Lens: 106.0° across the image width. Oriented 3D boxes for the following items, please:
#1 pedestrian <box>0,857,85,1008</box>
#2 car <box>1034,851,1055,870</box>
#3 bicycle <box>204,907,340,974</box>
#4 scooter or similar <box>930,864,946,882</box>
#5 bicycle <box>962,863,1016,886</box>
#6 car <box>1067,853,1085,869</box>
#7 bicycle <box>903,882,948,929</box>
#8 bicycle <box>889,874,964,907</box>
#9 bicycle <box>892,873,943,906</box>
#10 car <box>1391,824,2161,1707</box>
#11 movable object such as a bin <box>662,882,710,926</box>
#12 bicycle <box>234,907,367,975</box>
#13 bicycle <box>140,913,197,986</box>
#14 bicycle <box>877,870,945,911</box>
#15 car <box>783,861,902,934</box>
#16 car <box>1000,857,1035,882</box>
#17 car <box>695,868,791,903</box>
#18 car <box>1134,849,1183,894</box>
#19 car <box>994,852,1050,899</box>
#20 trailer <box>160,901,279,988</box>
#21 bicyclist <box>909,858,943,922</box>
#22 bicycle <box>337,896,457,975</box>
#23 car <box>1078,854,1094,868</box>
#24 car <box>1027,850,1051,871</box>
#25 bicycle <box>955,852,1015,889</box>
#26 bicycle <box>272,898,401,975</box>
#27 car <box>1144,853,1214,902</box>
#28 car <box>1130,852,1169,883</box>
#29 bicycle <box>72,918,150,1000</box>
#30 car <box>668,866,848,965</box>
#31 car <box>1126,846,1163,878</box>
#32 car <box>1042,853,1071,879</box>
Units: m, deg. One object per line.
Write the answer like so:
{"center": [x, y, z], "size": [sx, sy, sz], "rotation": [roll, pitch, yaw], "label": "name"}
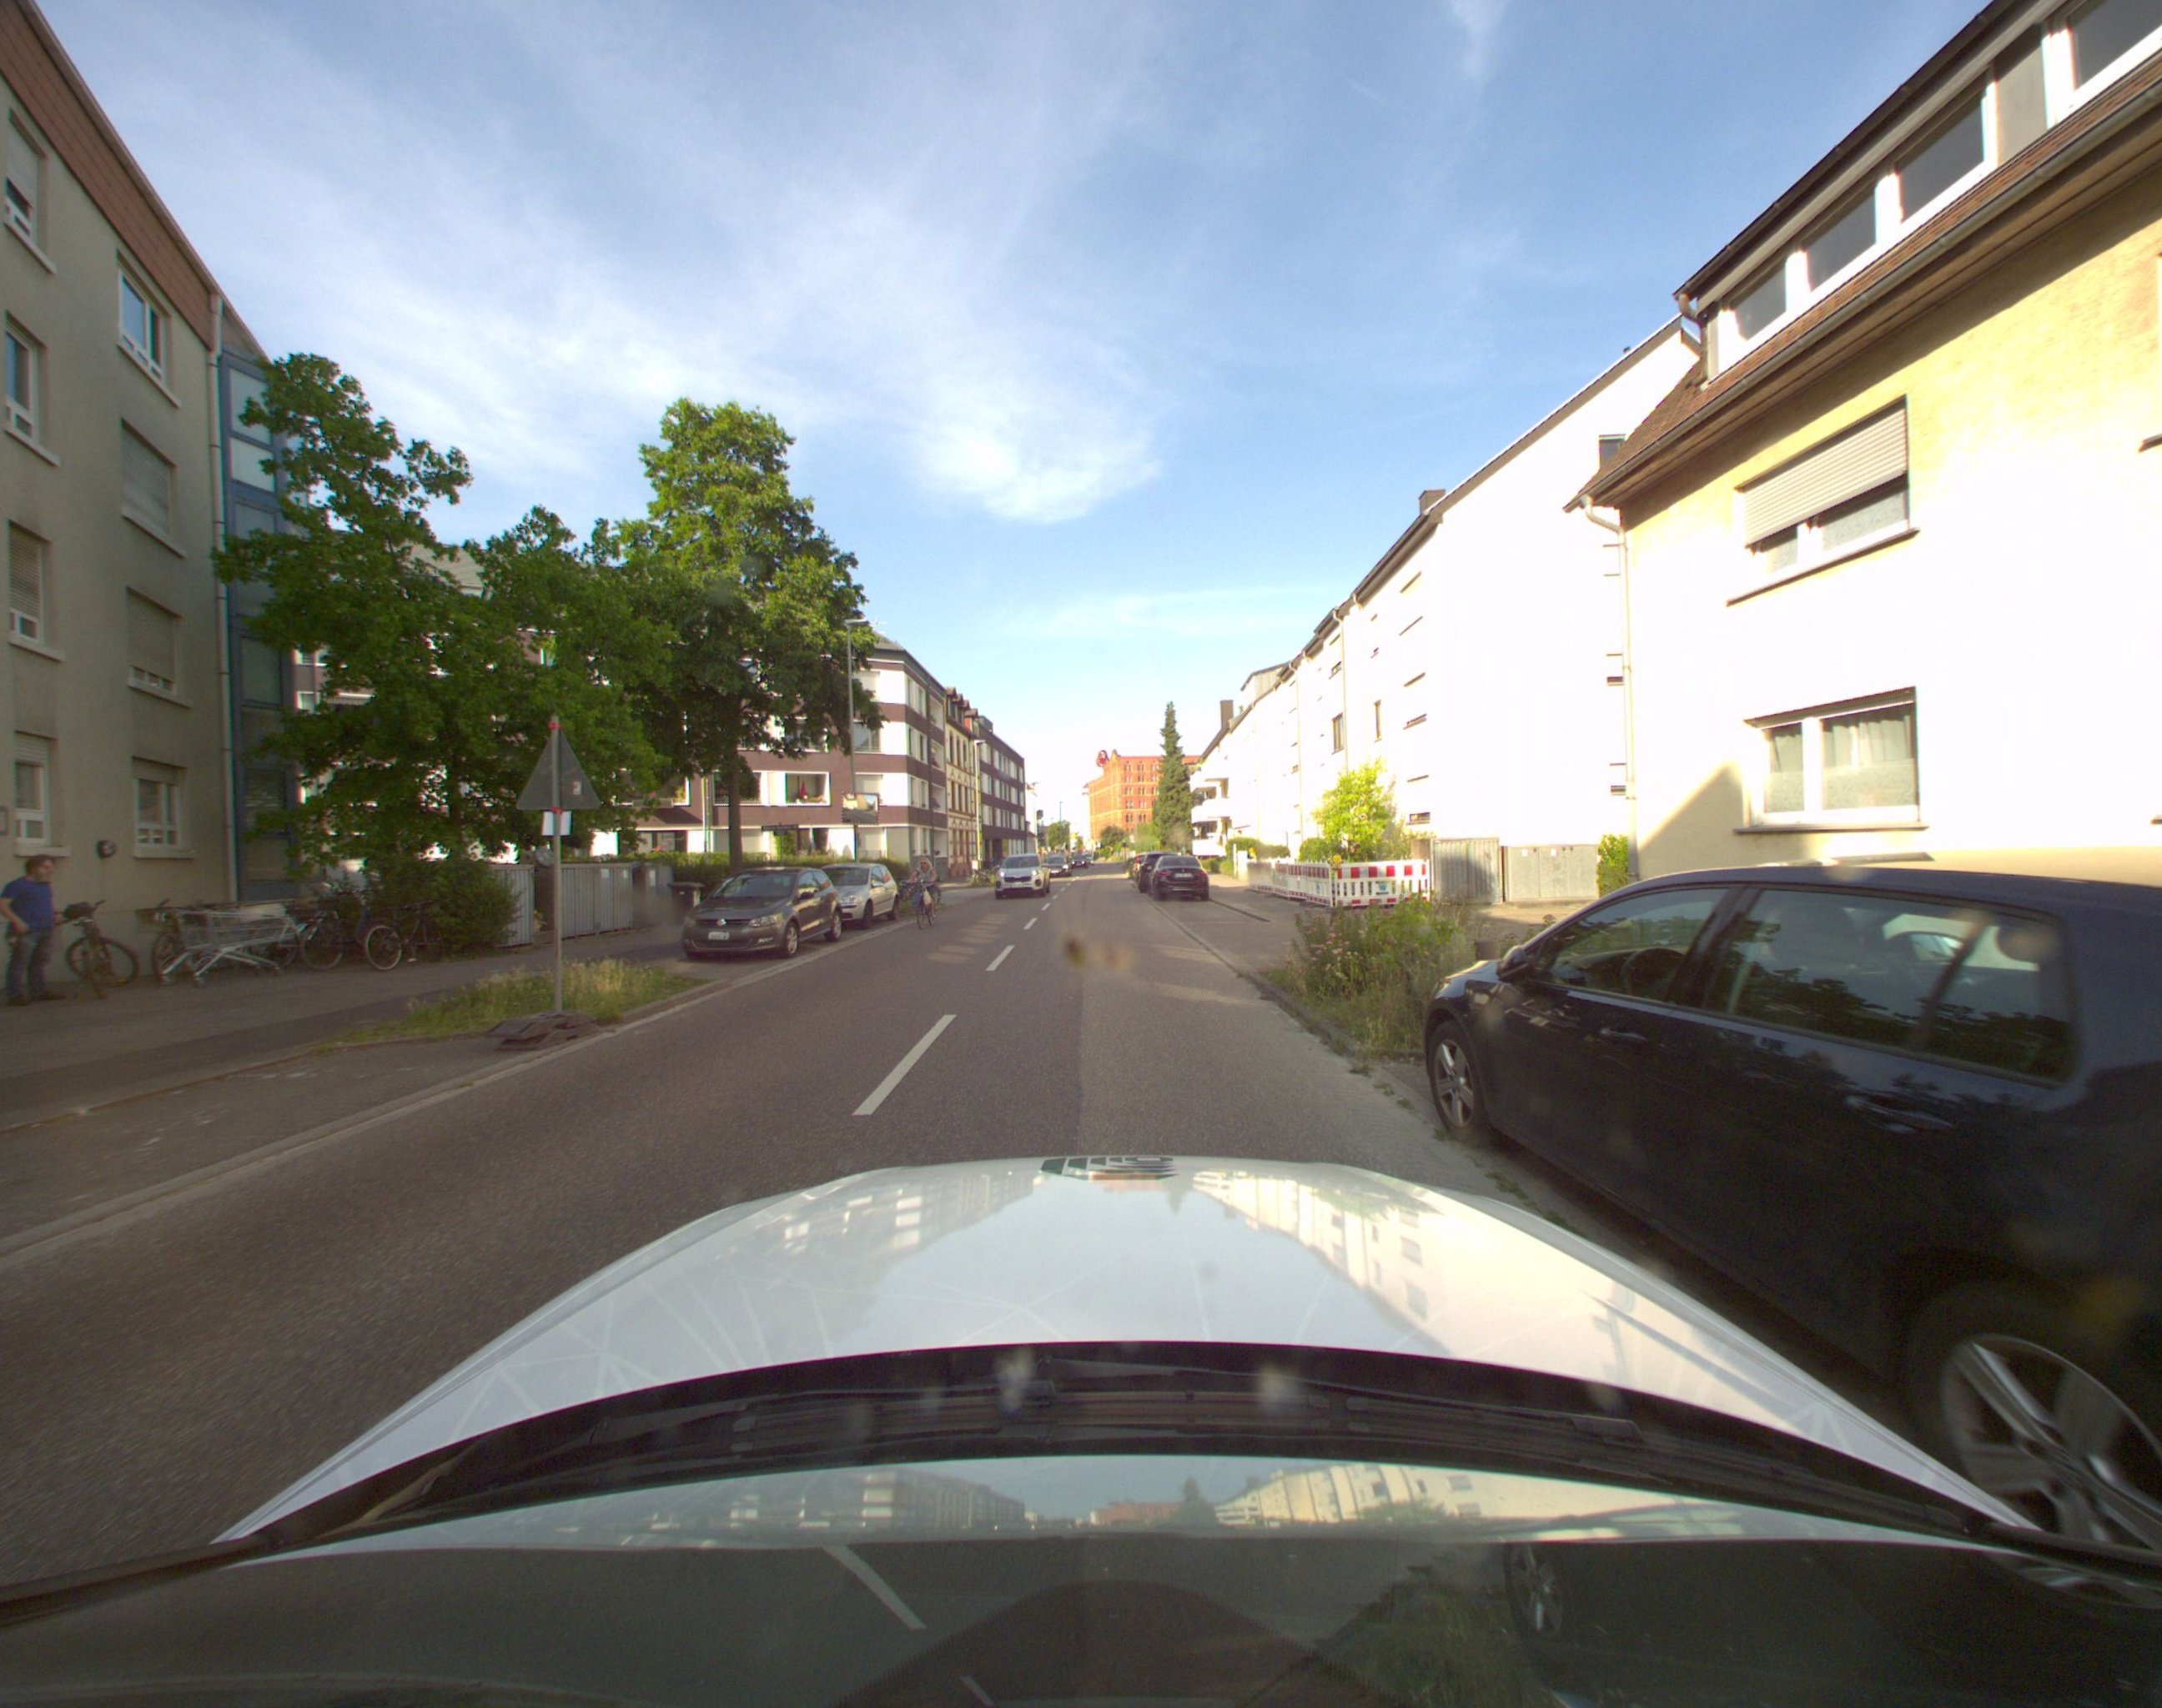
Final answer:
{"center": [-12.306, 0.902, 9.602], "size": [0.441, 1.723, 0.525], "rotation": [0, 0, 1], "label": "pedestrian"}
{"center": [-3.968, 0.715, 88.705], "size": [1.986, 2.013, 4.001], "rotation": [-2, 0, 1], "label": "car"}
{"center": [-12.418, 1.299, 12.576], "size": [0.460, 0.851, 1.681], "rotation": [-2, 0, -3], "label": "bicycle"}
{"center": [-8.762, 1.165, 49.954], "size": [0.631, 1.103, 1.611], "rotation": [0, 0, 1], "label": "scooter or similar"}
{"center": [-4.987, 1.125, 44.440], "size": [2.762, 1.144, 1.144], "rotation": [-2, 0, 1], "label": "bicycle"}
{"center": [-0.476, 0.727, 84.568], "size": [1.757, 1.616, 4.000], "rotation": [-2, 0, 1], "label": "car"}
{"center": [-3.571, 1.163, 18.804], "size": [0.606, 0.942, 1.812], "rotation": [-1, 0, 2], "label": "bicycle"}
{"center": [-5.040, 1.198, 26.708], "size": [2.336, 0.970, 0.707], "rotation": [-2, 0, -5], "label": "bicycle"}
{"center": [-5.500, 1.185, 27.423], "size": [1.582, 1.041, 0.707], "rotation": [-2, 0, -5], "label": "bicycle"}
{"center": [2.731, 0.680, 2.865], "size": [1.823, 1.482, 3.944], "rotation": [-2, 0, 1], "label": "car"}
{"center": [-9.784, 1.226, 20.178], "size": [0.749, 1.040, 0.816], "rotation": [1, 0, 1], "label": "movable object such as a bin"}
{"center": [-11.913, 1.295, 12.506], "size": [0.460, 0.851, 1.681], "rotation": [-2, 0, -3], "label": "bicycle"}
{"center": [-12.499, 1.289, 11.171], "size": [1.224, 0.881, 0.466], "rotation": [-2, 0, 44], "label": "bicycle"}
{"center": [-5.387, 1.144, 25.833], "size": [1.997, 1.217, 0.707], "rotation": [-2, 0, -5], "label": "bicycle"}
{"center": [-5.563, 0.957, 19.518], "size": [1.671, 1.501, 3.998], "rotation": [-1, 0, -1], "label": "car"}
{"center": [-4.033, 0.974, 52.250], "size": [1.833, 1.464, 3.585], "rotation": [-2, 0, 1], "label": "car"}
{"center": [-14.090, 1.285, 33.985], "size": [3.470, 1.288, 1.648], "rotation": [-2, 0, -31], "label": "car"}
{"center": [3.033, 0.657, 32.508], "size": [1.596, 1.646, 3.685], "rotation": [-2, 0, 1], "label": "car"}
{"center": [-2.190, 0.787, 31.346], "size": [1.757, 1.616, 4.000], "rotation": [-2, 0, 1], "label": "car"}
{"center": [-11.535, 1.195, 10.932], "size": [0.579, 1.056, 0.913], "rotation": [-2, 0, 16], "label": "trailer"}
{"center": [-3.578, 0.814, 18.846], "size": [0.588, 1.442, 0.751], "rotation": [-2, 0, 2], "label": "bicyclist"}
{"center": [-10.408, 1.204, 12.471], "size": [0.460, 1.023, 1.681], "rotation": [-2, 0, -3], "label": "bicycle"}
{"center": [0.685, 0.891, 103.397], "size": [1.986, 1.596, 4.001], "rotation": [-2, 0, 1], "label": "car"}
{"center": [-4.021, 0.619, 78.737], "size": [1.986, 1.882, 4.001], "rotation": [-2, 0, 1], "label": "car"}
{"center": [-5.029, 0.843, 42.670], "size": [2.907, 1.777, 1.202], "rotation": [-2, 0, 1], "label": "bicycle"}
{"center": [-11.273, 1.220, 12.408], "size": [0.460, 0.993, 1.681], "rotation": [-2, 0, -3], "label": "bicycle"}
{"center": [3.206, 0.738, 27.270], "size": [1.853, 1.472, 4.000], "rotation": [-2, 0, 0], "label": "car"}
{"center": [3.653, 0.689, 44.142], "size": [1.757, 1.526, 4.000], "rotation": [-3, 0, 1], "label": "car"}
{"center": [-12.124, 1.285, 10.170], "size": [1.435, 0.851, 0.466], "rotation": [0, 1, 34], "label": "bicycle"}
{"center": [-5.409, 0.954, 14.178], "size": [1.568, 1.420, 3.803], "rotation": [-1, 0, 0], "label": "car"}
{"center": [3.785, 0.467, 49.195], "size": [1.986, 1.772, 4.001], "rotation": [-1, 0, 1], "label": "car"}
{"center": [-1.633, 0.775, 55.377], "size": [1.757, 1.616, 4.000], "rotation": [-2, 0, 1], "label": "car"}
